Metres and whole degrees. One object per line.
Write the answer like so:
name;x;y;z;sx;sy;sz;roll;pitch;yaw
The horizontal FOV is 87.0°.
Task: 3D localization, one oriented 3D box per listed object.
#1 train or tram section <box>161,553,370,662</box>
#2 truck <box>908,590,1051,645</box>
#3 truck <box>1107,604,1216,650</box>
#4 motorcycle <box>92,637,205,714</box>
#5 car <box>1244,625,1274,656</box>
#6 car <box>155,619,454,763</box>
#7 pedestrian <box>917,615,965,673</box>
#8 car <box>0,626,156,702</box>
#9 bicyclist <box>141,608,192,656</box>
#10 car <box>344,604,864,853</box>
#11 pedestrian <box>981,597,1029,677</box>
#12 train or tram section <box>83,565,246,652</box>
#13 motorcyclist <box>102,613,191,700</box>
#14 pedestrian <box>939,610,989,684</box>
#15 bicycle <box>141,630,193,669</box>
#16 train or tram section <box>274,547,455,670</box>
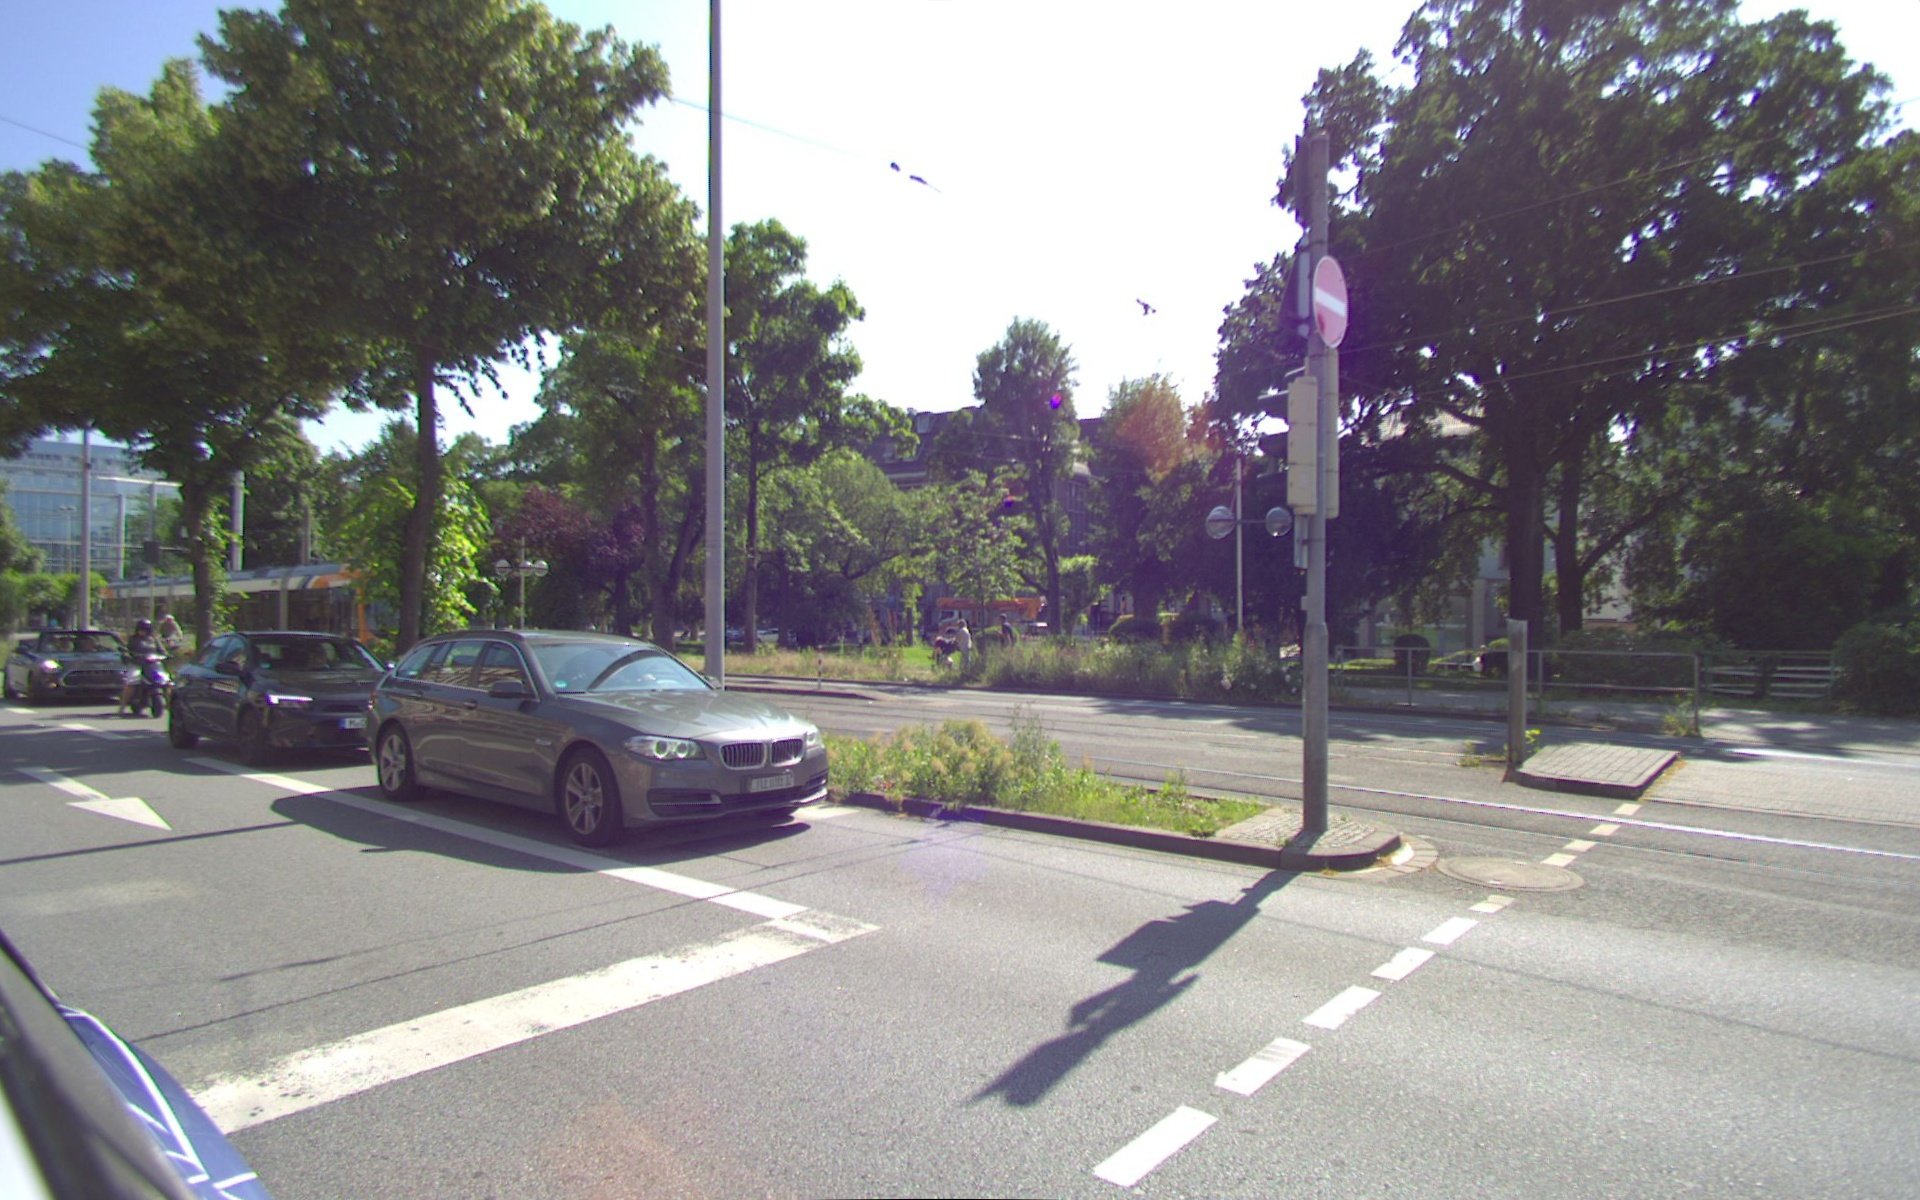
train or tram section;-25.515;0.350;36.781;12.396;3.429;2.733;-1;-2;39
truck;1.533;1.488;84.720;11.772;4.295;3.593;-1;-2;32
truck;14.800;1.988;74.606;7.632;3.240;2.438;-1;-2;33
motorcycle;-13.402;1.201;16.696;2.349;1.172;0.892;-1;-2;37
car;21.278;2.853;72.040;1.983;2.029;4.532;0;-1;17
car;-7.828;0.944;11.966;3.995;1.422;1.775;-1;-2;39
pedestrian;-0.542;1.258;29.024;0.935;1.632;1.024;-1;-2;44
car;-17.189;1.167;19.591;3.908;1.318;1.618;-1;-2;37
bicyclist;-24.050;0.966;30.676;1.231;1.404;0.902;-1;-2;37
car;-3.102;0.837;8.273;4.741;1.497;1.731;-1;-3;38
pedestrian;1.246;1.022;28.173;0.802;2.167;1.111;-1;-2;44
train or tram section;-35.192;0.445;44.472;12.394;3.429;2.733;-1;-2;38
motorcyclist;-13.392;0.909;16.662;0.991;1.369;0.892;-1;-2;37
pedestrian;0.125;1.300;28.508;0.802;2.029;1.208;-1;-2;44
bicycle;-24.010;1.466;30.635;2.492;1.091;0.636;0;-1;37
train or tram section;-18.365;0.307;31.101;5.877;3.429;2.734;-1;-2;37
